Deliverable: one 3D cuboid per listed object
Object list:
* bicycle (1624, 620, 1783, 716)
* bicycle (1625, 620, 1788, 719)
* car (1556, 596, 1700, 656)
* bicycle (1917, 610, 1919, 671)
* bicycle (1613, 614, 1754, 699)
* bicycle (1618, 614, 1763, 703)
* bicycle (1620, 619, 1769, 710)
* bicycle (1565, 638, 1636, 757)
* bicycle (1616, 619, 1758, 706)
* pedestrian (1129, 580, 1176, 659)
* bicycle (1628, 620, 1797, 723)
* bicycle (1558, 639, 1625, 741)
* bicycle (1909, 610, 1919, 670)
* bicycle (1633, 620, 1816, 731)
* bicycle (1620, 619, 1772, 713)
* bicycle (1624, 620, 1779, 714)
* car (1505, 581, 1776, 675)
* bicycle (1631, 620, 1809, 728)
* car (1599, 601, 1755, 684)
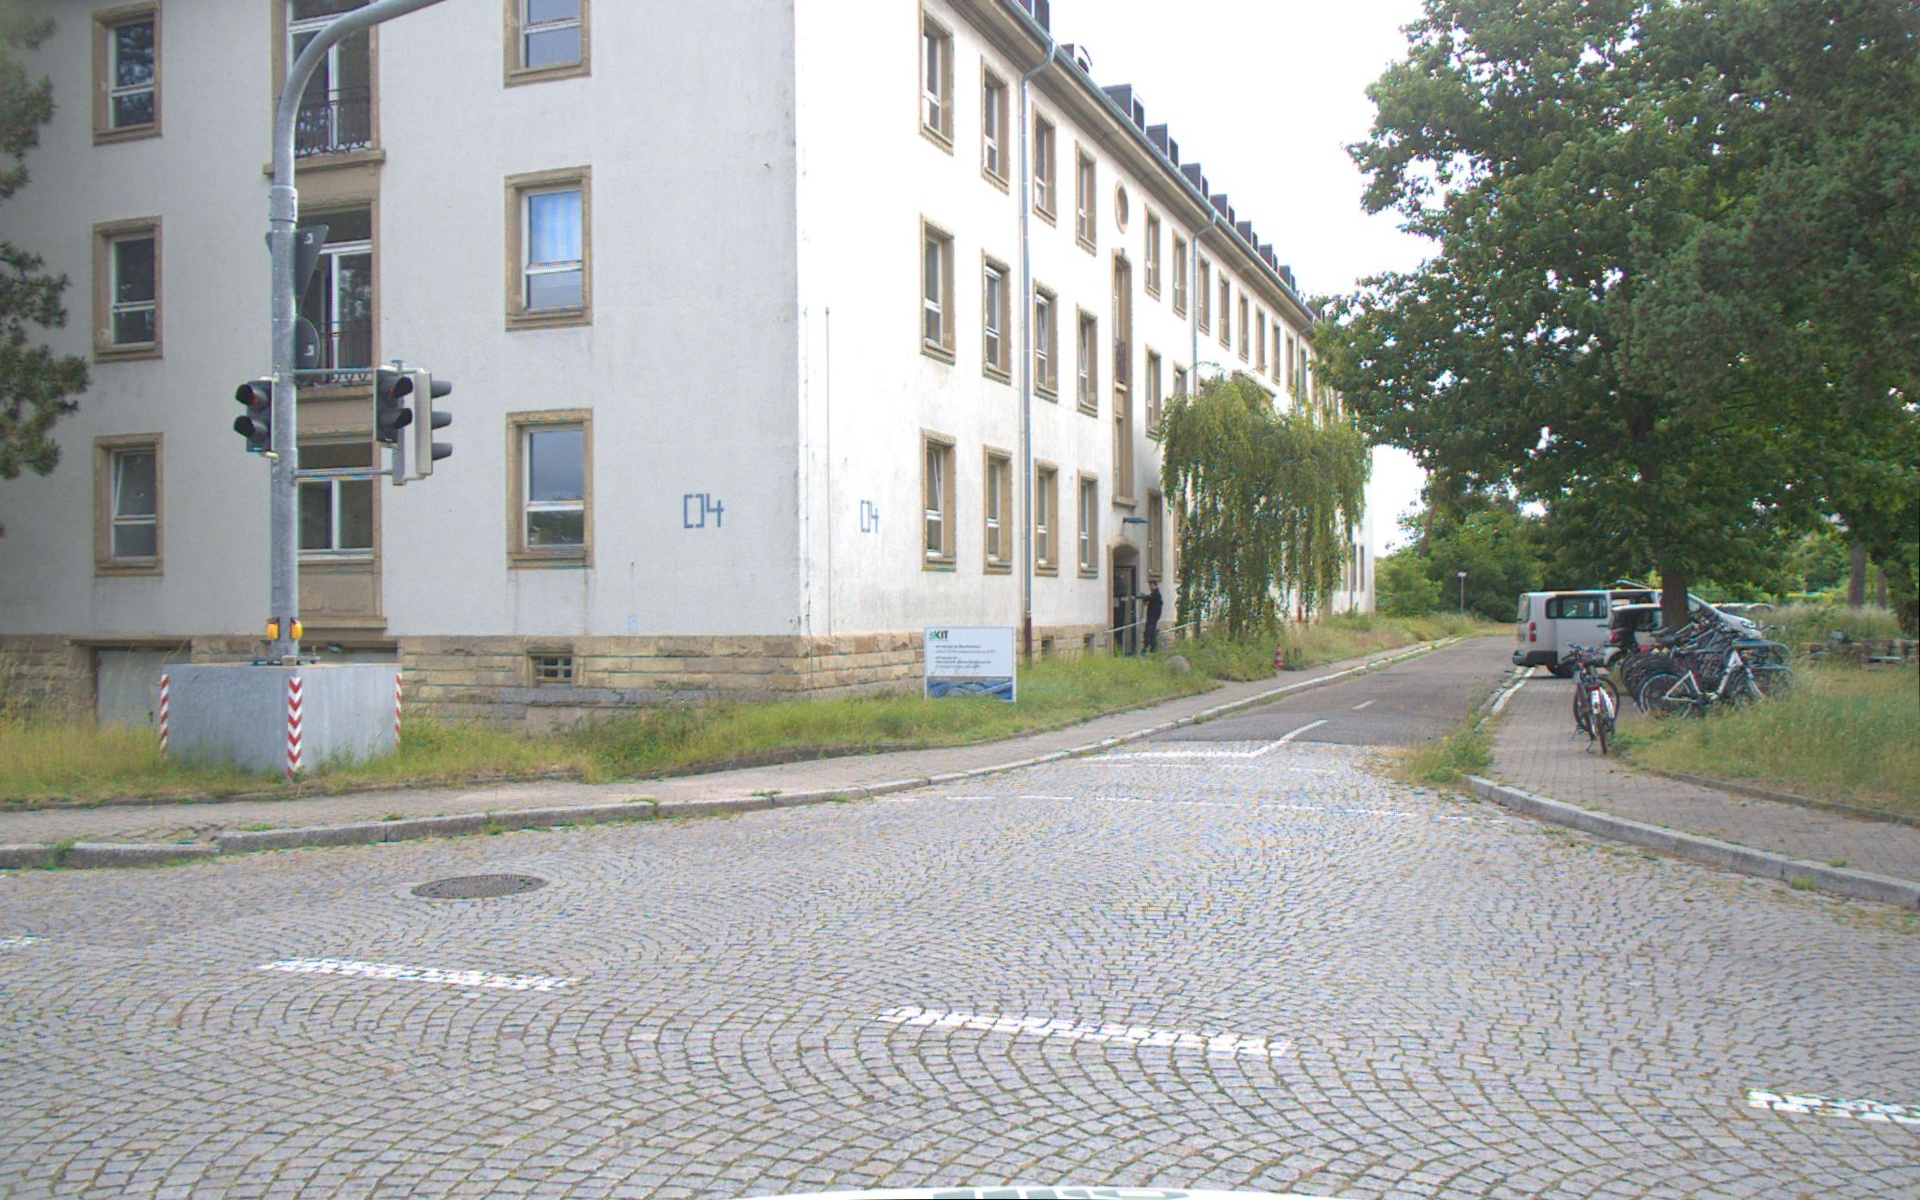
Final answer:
[{"bbox_3d":[10.232,0.921,22.830,1.941,1.269,0.624,1,-1,20],"label":"bicycle"},{"bbox_3d":[10.010,0.915,22.237,1.941,1.269,0.624,1,-1,20],"label":"bicycle"},{"bbox_3d":[20.145,0.798,50.034,3.948,1.748,1.681,-1,-1,20],"label":"car"},{"bbox_3d":[18.724,0.761,30.779,1.517,1.144,0.401,-1,-1,23],"label":"bicycle"},{"bbox_3d":[11.315,0.884,25.919,1.941,1.269,0.624,-2,-1,20],"label":"bicycle"},{"bbox_3d":[10.936,0.859,24.829,1.941,1.269,0.624,1,-1,20],"label":"bicycle"},{"bbox_3d":[10.780,0.935,24.338,1.941,1.269,0.624,1,-1,20],"label":"bicycle"},{"bbox_3d":[6.722,0.984,17.310,0.610,1.133,1.988,0,0,24],"label":"bicycle"},{"bbox_3d":[11.089,0.943,25.298,1.941,1.269,0.624,1,-1,20],"label":"bicycle"},{"bbox_3d":[4.534,0.453,38.924,0.821,1.812,0.940,-1,-1,26],"label":"pedestrian"},{"bbox_3d":[9.716,0.908,21.429,1.941,1.269,0.624,1,-1,20],"label":"bicycle"},{"bbox_3d":[7.330,1.016,19.171,0.610,1.101,1.676,0,0,25],"label":"bicycle"},{"bbox_3d":[19.217,0.769,31.909,1.517,1.144,0.401,-1,-1,23],"label":"bicycle"},{"bbox_3d":[9.197,0.894,19.962,1.941,1.269,0.624,1,-1,20],"label":"bicycle"},{"bbox_3d":[10.520,0.929,23.697,1.941,1.269,0.624,1,-1,20],"label":"bicycle"},{"bbox_3d":[10.426,0.926,23.318,1.941,1.269,0.624,1,-1,20],"label":"bicycle"},{"bbox_3d":[15.147,0.624,37.076,5.191,1.949,2.151,-1,-1,7],"label":"car"},{"bbox_3d":[9.412,0.900,20.553,1.941,1.269,0.624,1,-1,20],"label":"bicycle"},{"bbox_3d":[14.507,0.860,33.590,2.789,1.585,1.472,-1,1,21],"label":"car"}]
